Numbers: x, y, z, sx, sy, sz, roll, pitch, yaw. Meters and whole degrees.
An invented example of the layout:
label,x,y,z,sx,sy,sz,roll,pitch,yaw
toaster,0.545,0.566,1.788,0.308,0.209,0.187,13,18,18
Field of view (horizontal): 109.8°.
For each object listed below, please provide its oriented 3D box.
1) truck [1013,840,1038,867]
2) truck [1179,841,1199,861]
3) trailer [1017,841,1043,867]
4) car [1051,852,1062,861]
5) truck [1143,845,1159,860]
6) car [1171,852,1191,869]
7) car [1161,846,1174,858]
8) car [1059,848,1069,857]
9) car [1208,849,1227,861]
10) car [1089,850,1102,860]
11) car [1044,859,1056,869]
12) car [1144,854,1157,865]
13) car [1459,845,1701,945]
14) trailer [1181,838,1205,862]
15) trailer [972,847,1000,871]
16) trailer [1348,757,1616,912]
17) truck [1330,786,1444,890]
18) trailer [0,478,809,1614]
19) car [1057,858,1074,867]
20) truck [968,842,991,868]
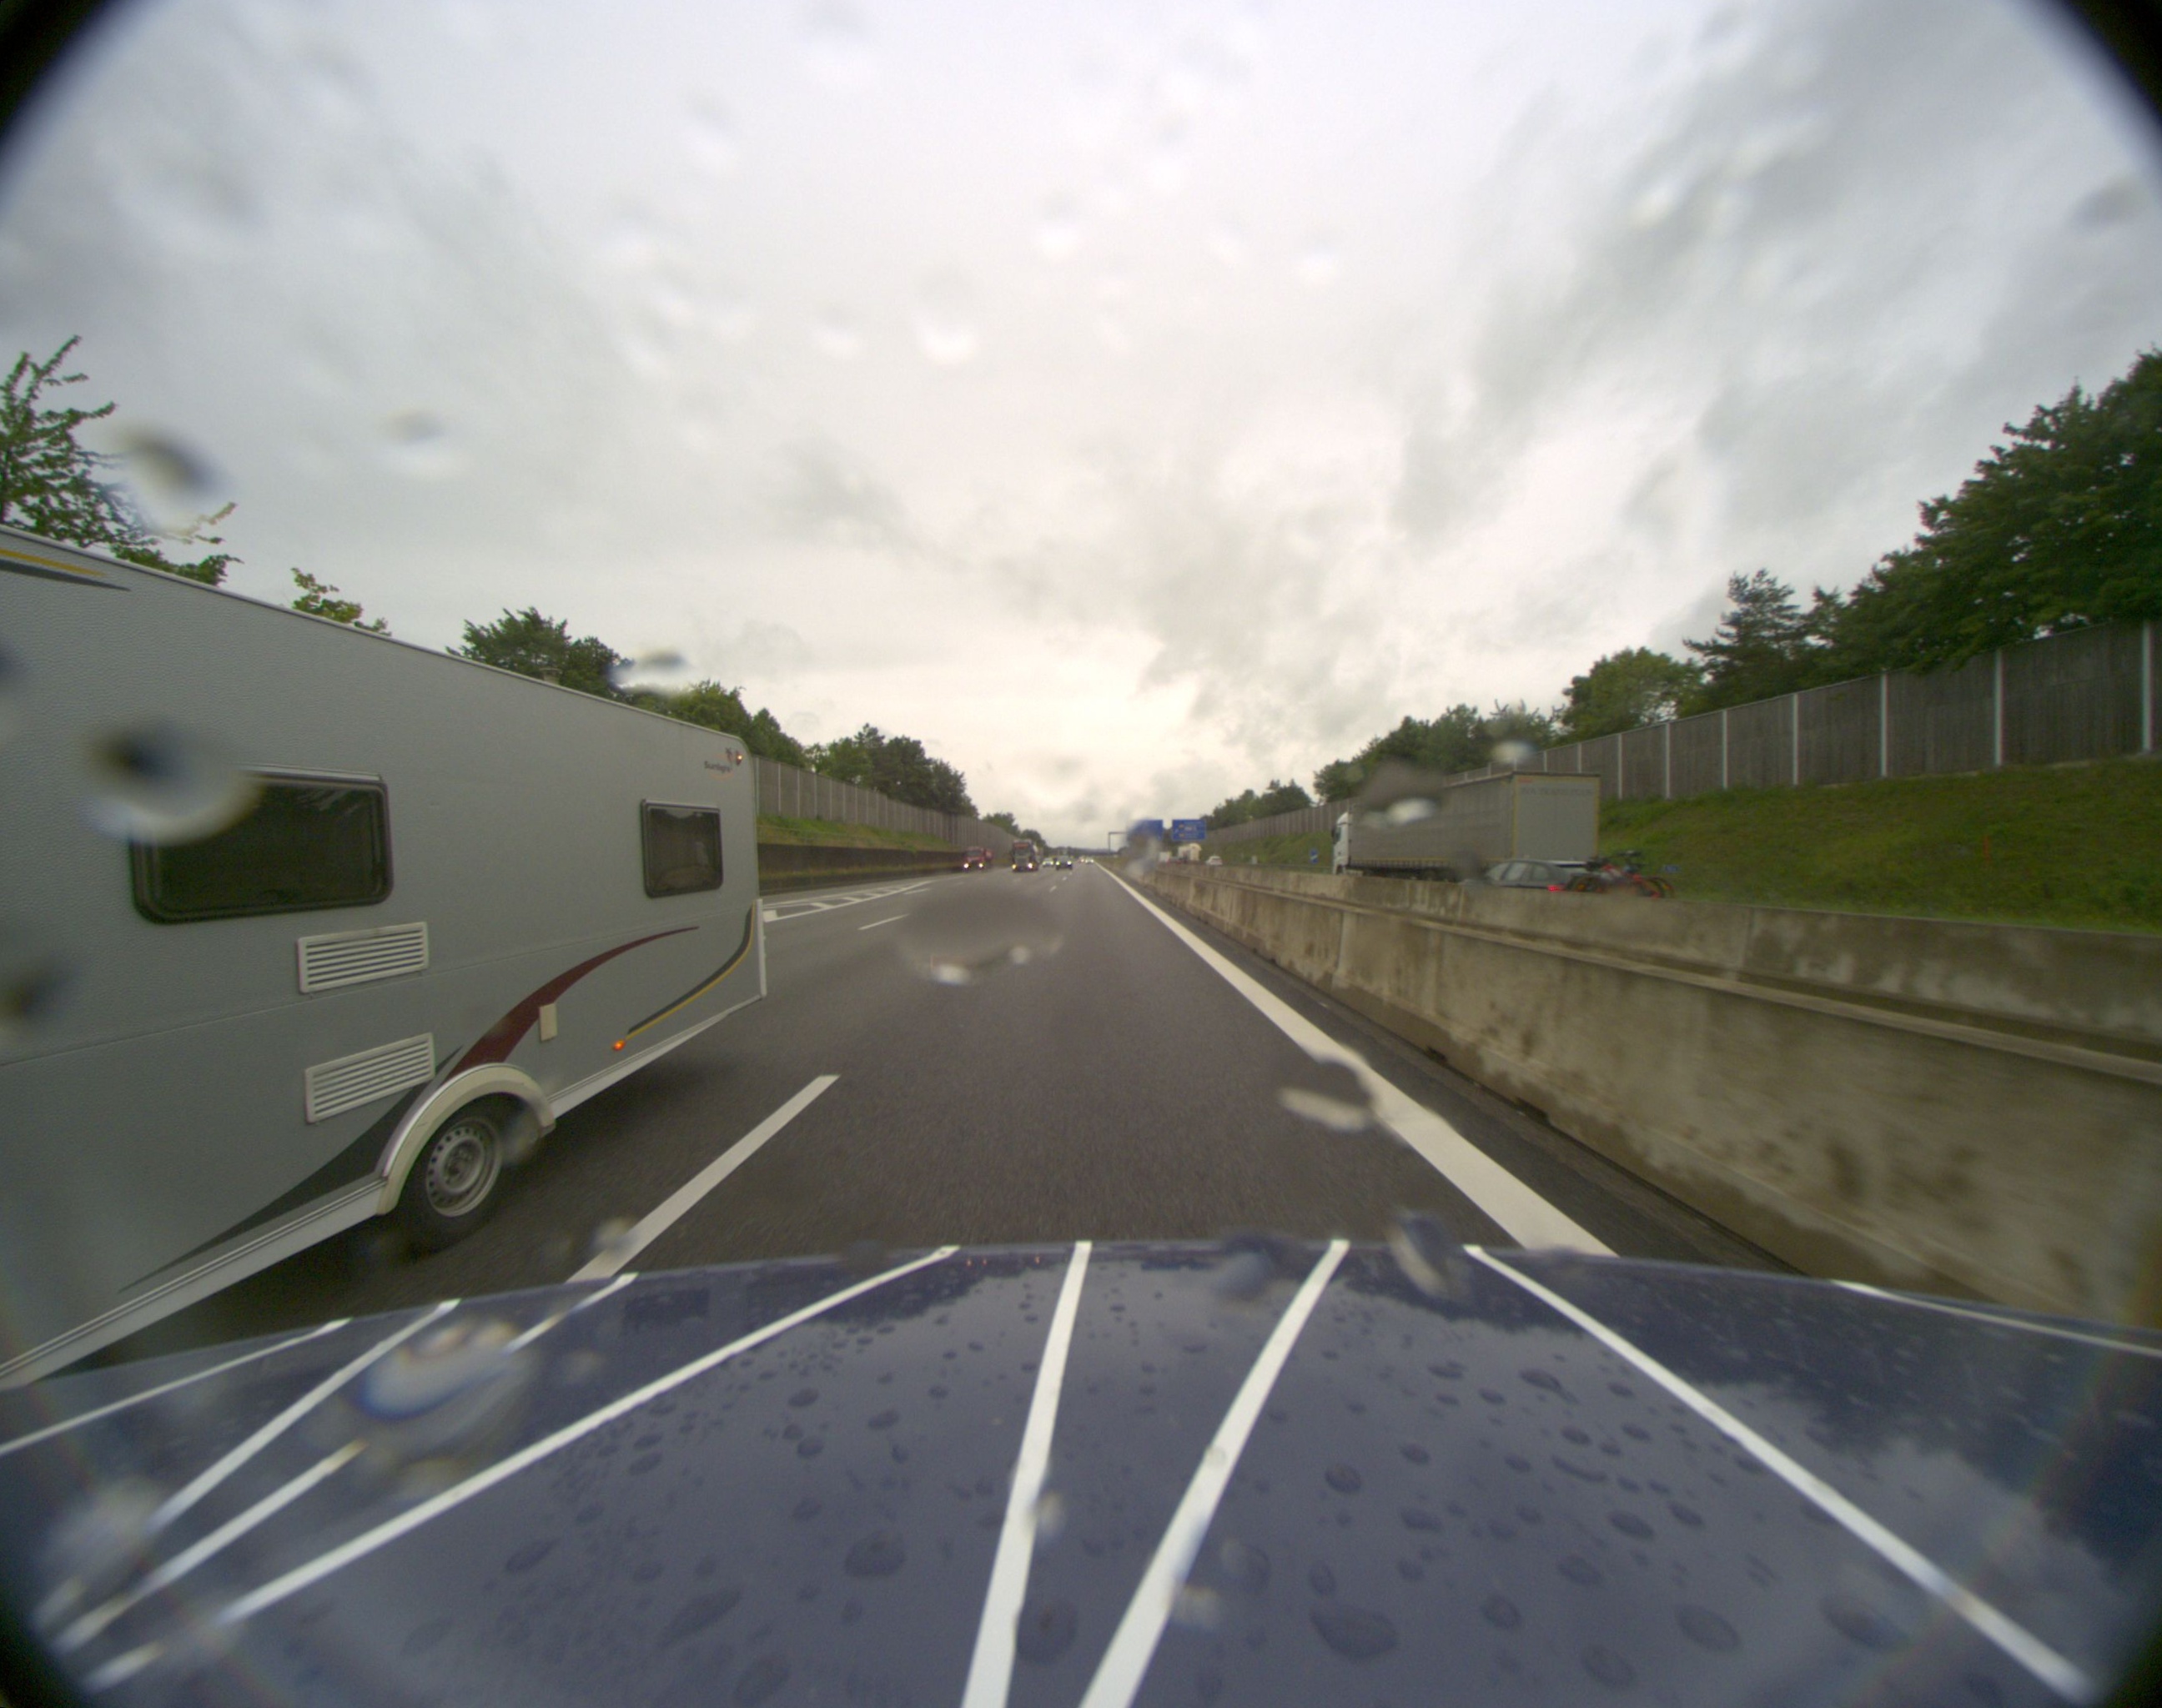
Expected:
label,x,y,z,sx,sy,sz,roll,pitch,yaw
truck,-6.744,-0.030,93.334,2.617,3.218,4.632,-1,0,1
truck,19.728,-0.617,139.375,2.707,3.537,5.857,2,1,1
trailer,-6.673,-0.064,100.355,2.600,3.228,9.915,-1,0,1
car,-5.271,0.587,162.568,1.998,1.747,4.000,-1,0,1
truck,20.570,-0.489,223.988,3.326,4.216,11.146,-3,0,0
car,12.375,0.788,94.260,1.998,2.002,4.768,-1,0,1
car,20.679,-0.475,182.477,2.369,2.953,6.688,-1,0,0
car,-5.011,-0.489,223.103,2.769,2.591,5.807,-1,0,-1
car,19.734,0.133,109.991,1.998,1.633,4.960,-1,0,1
car,3.382,0.196,176.400,2.680,2.340,5.807,-1,0,-1
car,-5.564,1.716,135.438,1.916,1.630,3.999,-3,1,1
car,12.842,0.994,139.985,1.998,2.002,4.768,-1,0,1
car,9.531,0.689,15.040,1.977,1.679,4.357,-1,0,1
trailer,19.651,-0.734,133.873,2.718,3.901,10.644,2,1,1
trailer,-13.234,0.695,107.023,2.452,3.228,9.401,-1,0,2
trailer,13.893,-0.638,28.672,2.786,4.300,14.022,-3,1,1
truck,13.985,-0.703,35.270,2.786,4.300,6.097,-3,1,1
trailer,-3.865,0.468,2.981,2.728,2.627,7.511,-2,0,1
car,-1.989,1.106,97.583,2.061,1.020,3.438,-3,1,1
truck,-13.444,0.119,101.215,2.420,3.445,4.000,-1,0,1
